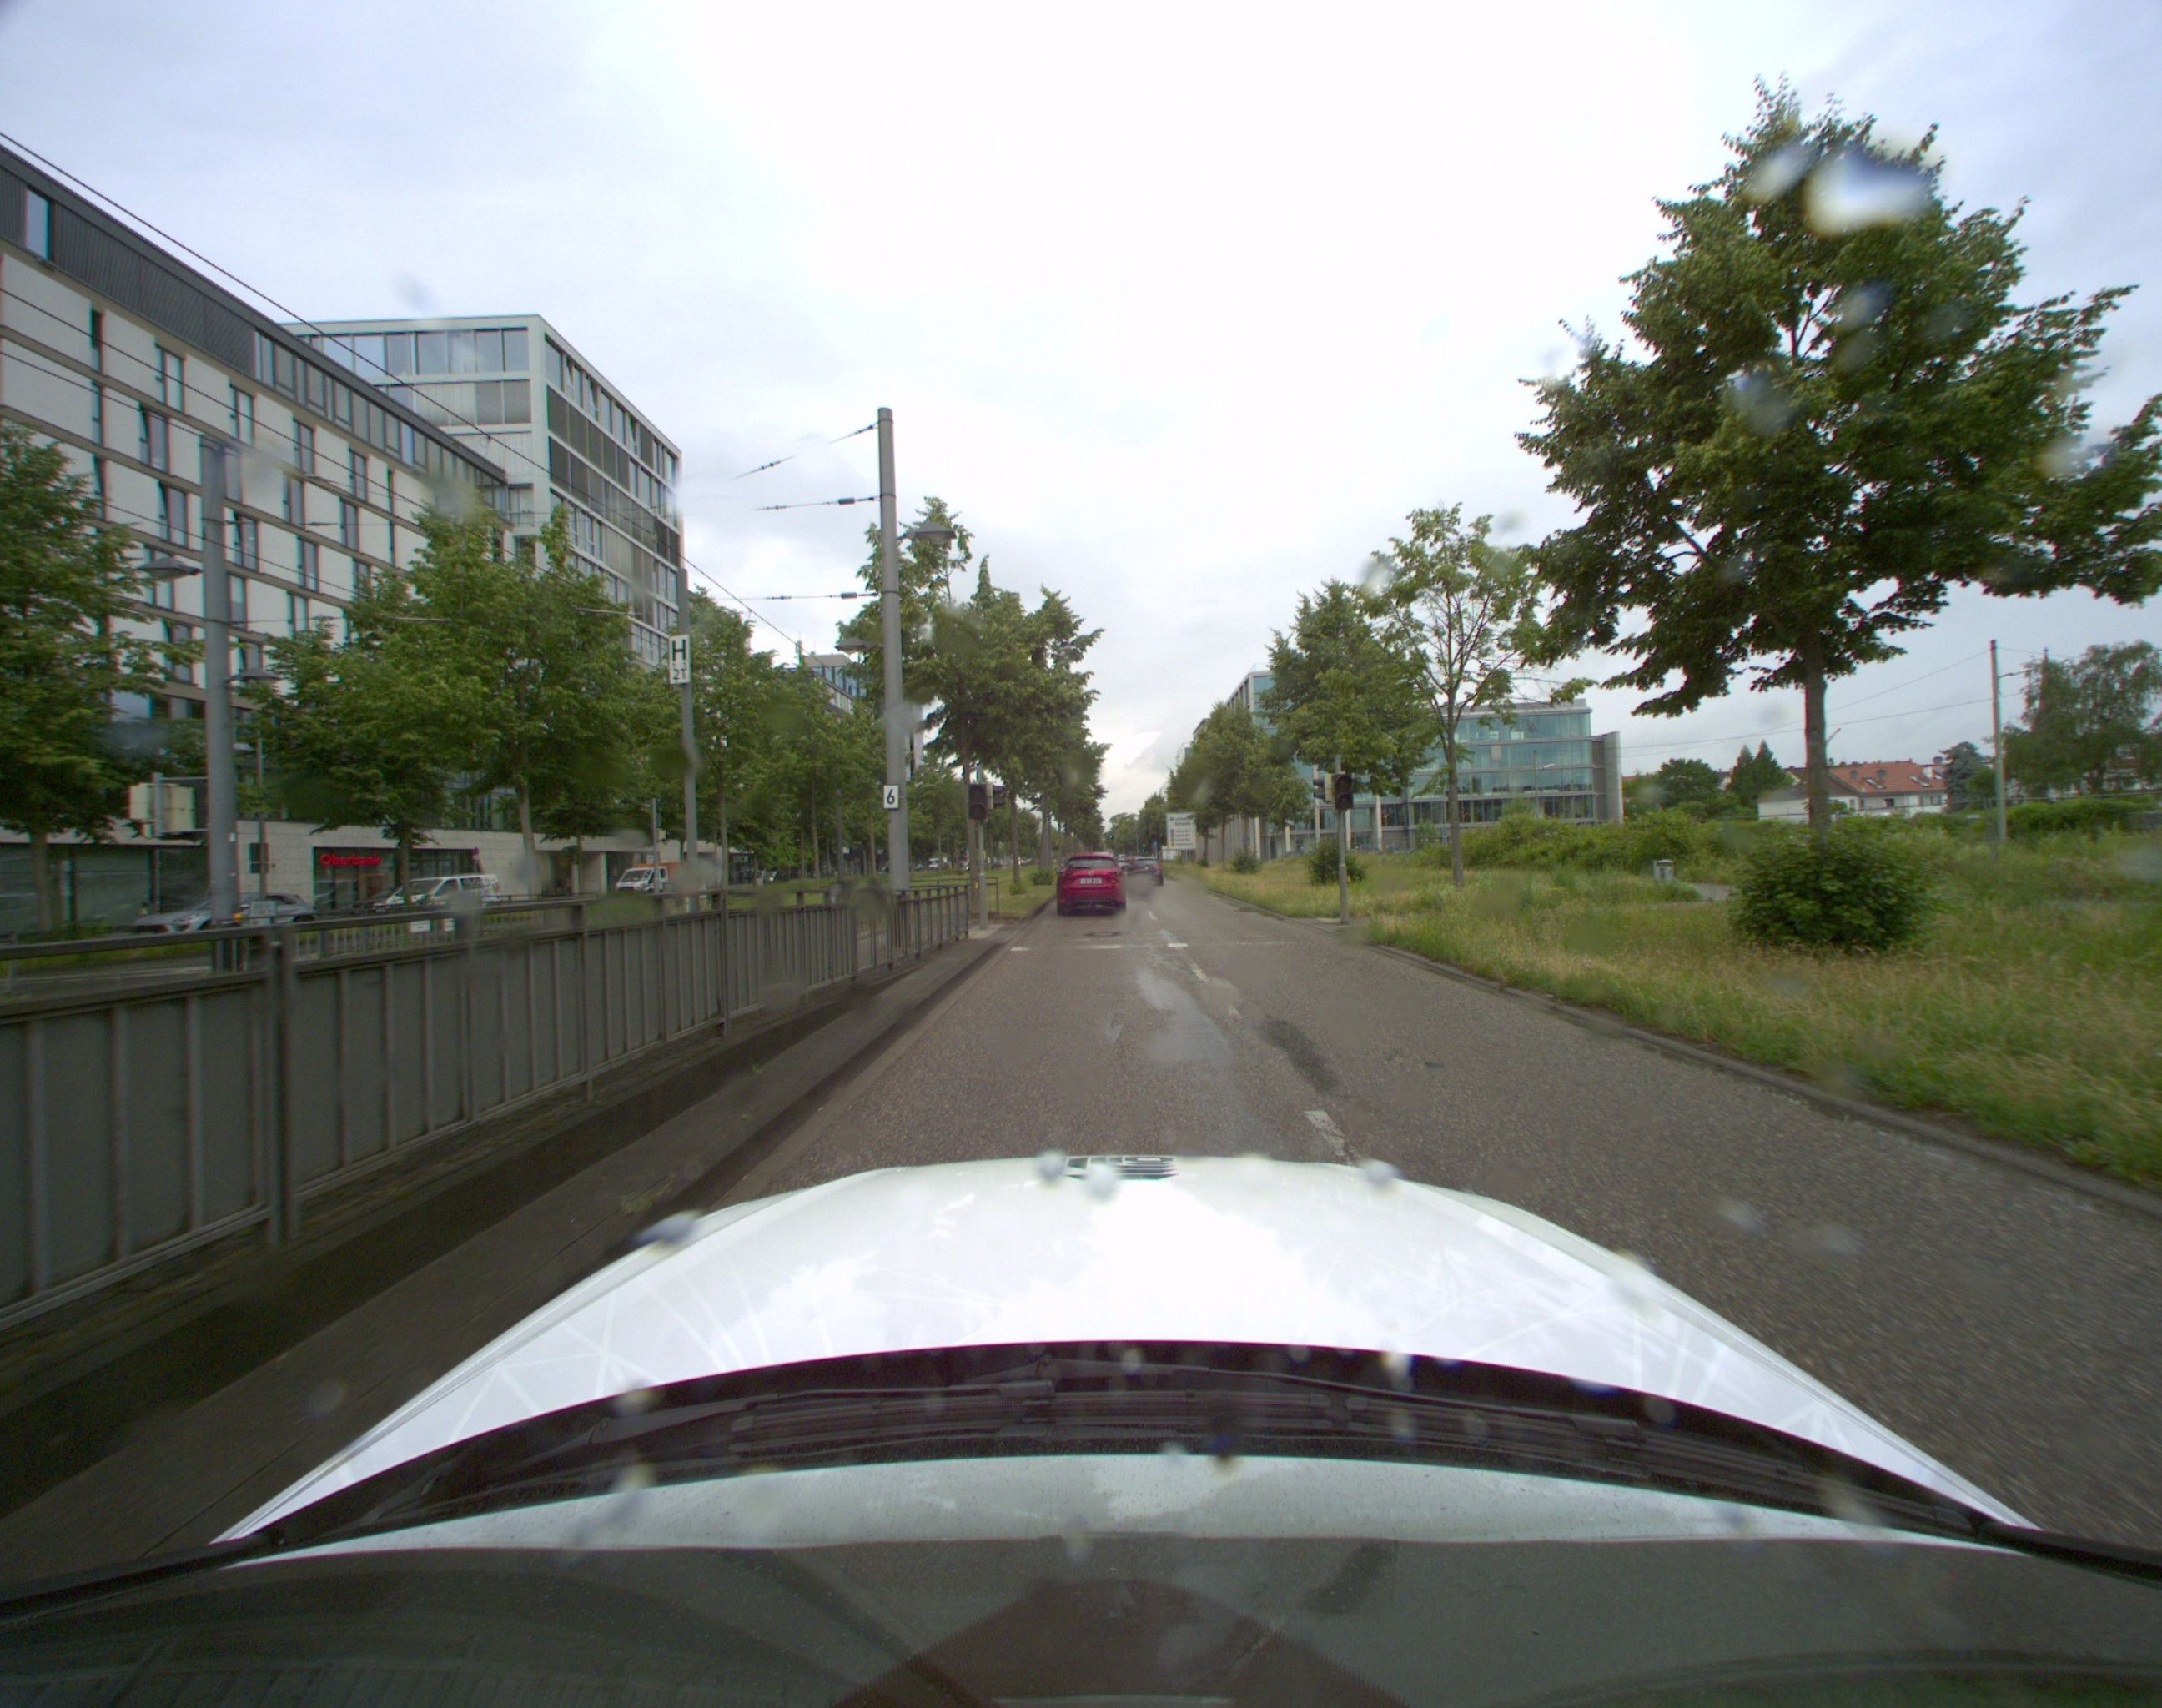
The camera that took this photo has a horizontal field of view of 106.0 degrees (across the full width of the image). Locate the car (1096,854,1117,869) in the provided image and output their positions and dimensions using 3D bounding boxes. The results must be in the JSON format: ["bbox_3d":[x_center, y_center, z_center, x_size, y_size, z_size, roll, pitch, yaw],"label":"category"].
[{"bbox_3d":[2.633,0.775,84.868,1.961,1.437,4.552,-1,0,0],"label":"car"}]

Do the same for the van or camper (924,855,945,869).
[{"bbox_3d":[-24.889,1.294,138.662,2.424,2.315,5.852,-2,0,1],"label":"van or camper"}]

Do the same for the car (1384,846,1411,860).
[{"bbox_3d":[35.361,-0.143,90.945,1.776,1.475,4.238,-2,0,7],"label":"car"}]

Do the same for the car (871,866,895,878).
[{"bbox_3d":[-25.624,2.336,105.413,1.986,1.378,4.001,-2,0,1],"label":"car"}]

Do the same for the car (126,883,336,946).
[{"bbox_3d":[-27.747,1.912,26.853,2.137,1.712,4.464,-2,0,1],"label":"car"}]

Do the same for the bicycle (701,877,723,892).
[{"bbox_3d":[-25.323,2.059,55.904,0.596,0.945,1.759,-2,0,5],"label":"bicycle"}]

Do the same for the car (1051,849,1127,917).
[{"bbox_3d":[0.236,0.742,22.688,1.892,1.677,4.000,-2,0,1],"label":"car"}]

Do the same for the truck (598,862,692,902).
[{"bbox_3d":[-27.766,1.694,52.199,2.418,2.291,6.310,-2,0,1],"label":"truck"}]

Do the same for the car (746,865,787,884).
[{"bbox_3d":[-26.857,1.724,69.763,1.848,1.465,3.989,-2,0,1],"label":"car"}]

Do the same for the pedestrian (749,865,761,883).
[{"bbox_3d":[-35.766,2.164,89.364,0.789,1.981,0.858,-2,0,9],"label":"pedestrian"}]

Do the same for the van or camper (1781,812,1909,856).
[{"bbox_3d":[56.417,-1.384,60.430,2.900,2.994,6.770,-2,0,-3],"label":"van or camper"}]

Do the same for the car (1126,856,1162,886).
[{"bbox_3d":[3.257,0.853,42.257,1.736,1.465,3.785,-2,0,4],"label":"car"}]

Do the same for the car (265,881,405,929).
[{"bbox_3d":[-31.545,2.110,34.624,1.986,1.694,4.193,-2,0,1],"label":"car"}]

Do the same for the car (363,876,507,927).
[{"bbox_3d":[-27.744,1.974,35.267,1.986,1.852,5.165,-2,0,1],"label":"car"}]

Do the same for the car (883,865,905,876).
[{"bbox_3d":[-25.712,2.258,112.195,1.986,1.378,4.001,-2,0,1],"label":"car"}]

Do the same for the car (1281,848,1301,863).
[{"bbox_3d":[23.919,0.138,92.837,1.844,1.581,4.010,-2,0,9],"label":"car"}]
